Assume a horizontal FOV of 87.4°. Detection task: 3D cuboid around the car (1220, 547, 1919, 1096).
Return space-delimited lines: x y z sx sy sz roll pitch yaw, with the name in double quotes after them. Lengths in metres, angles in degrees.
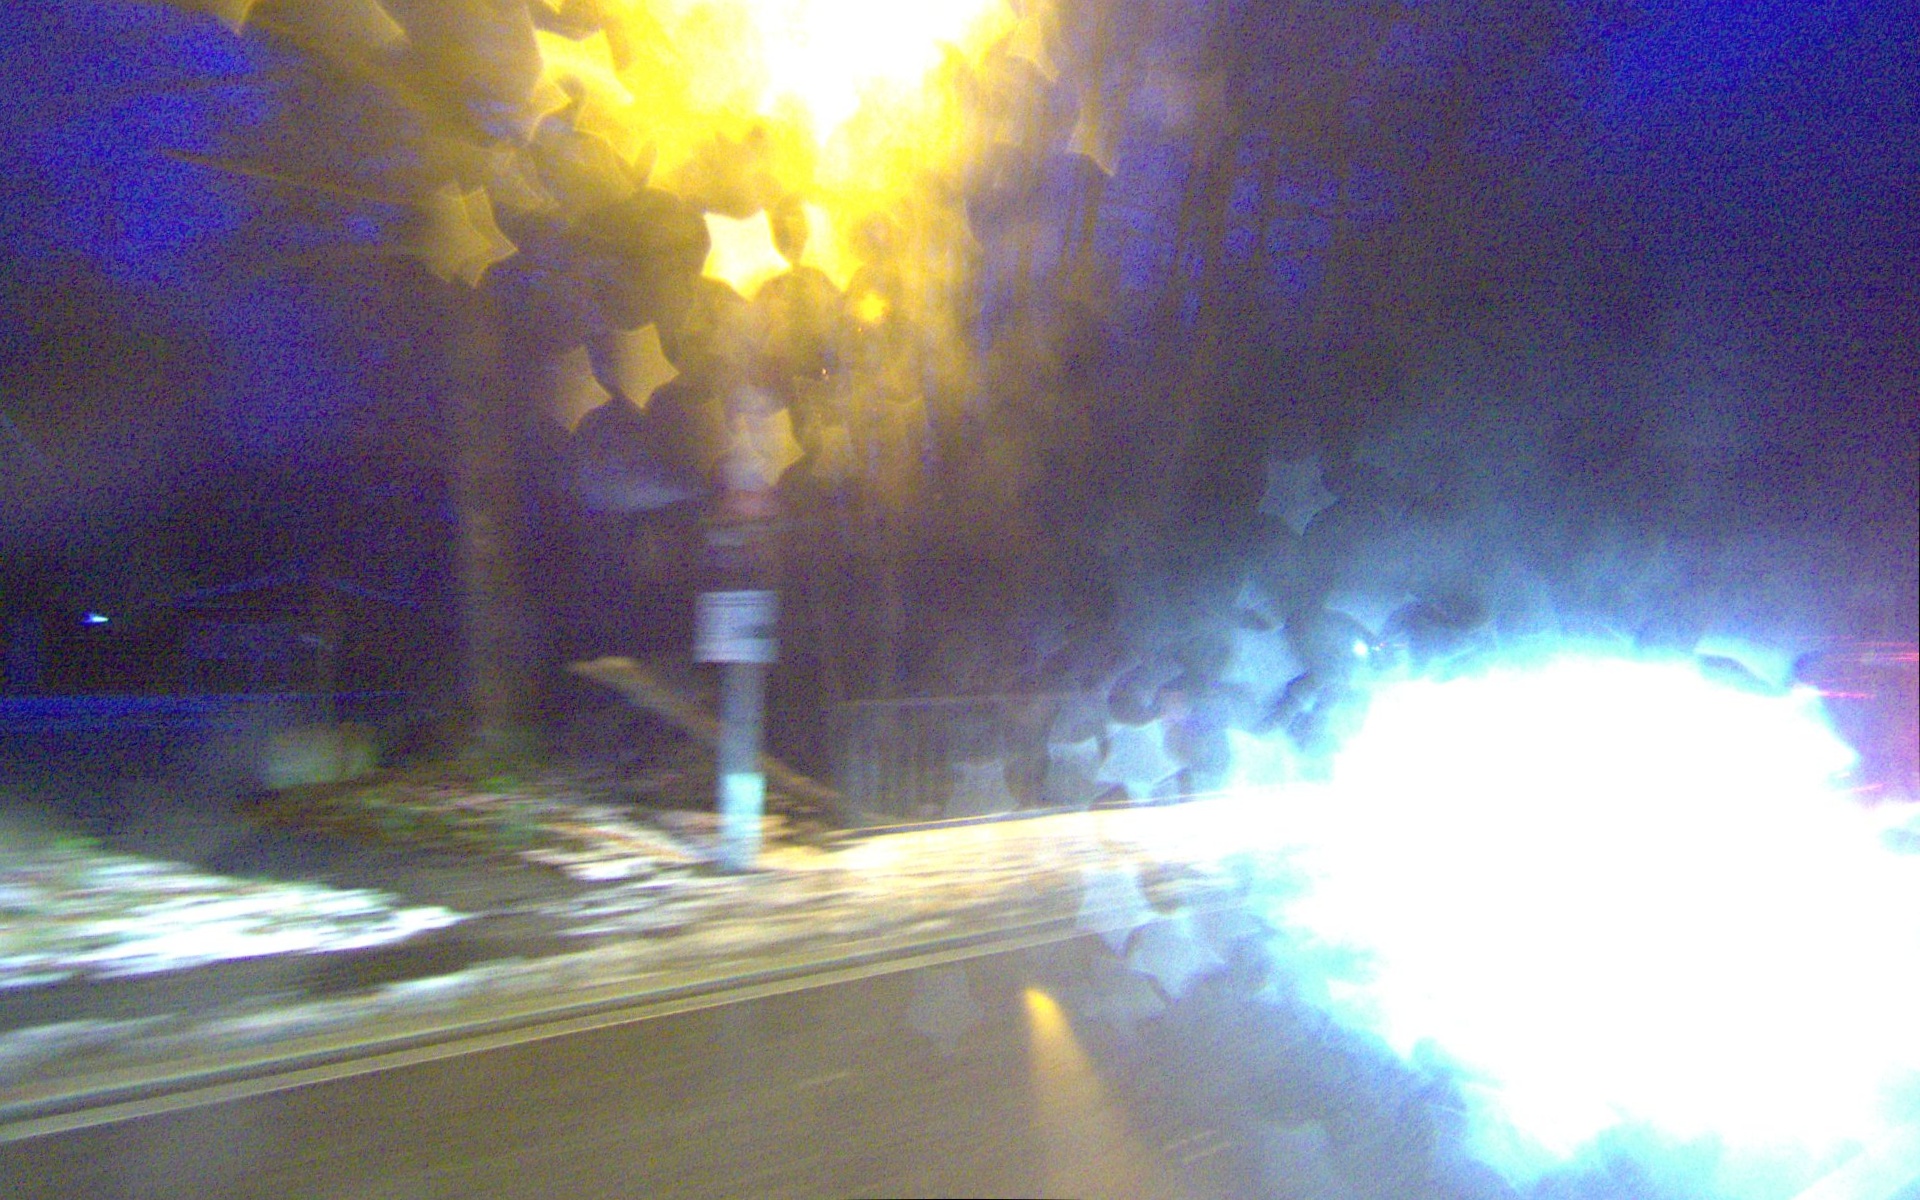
3.510 0.780 4.770 4.302 1.565 1.867 2 -5 -29 "car"
